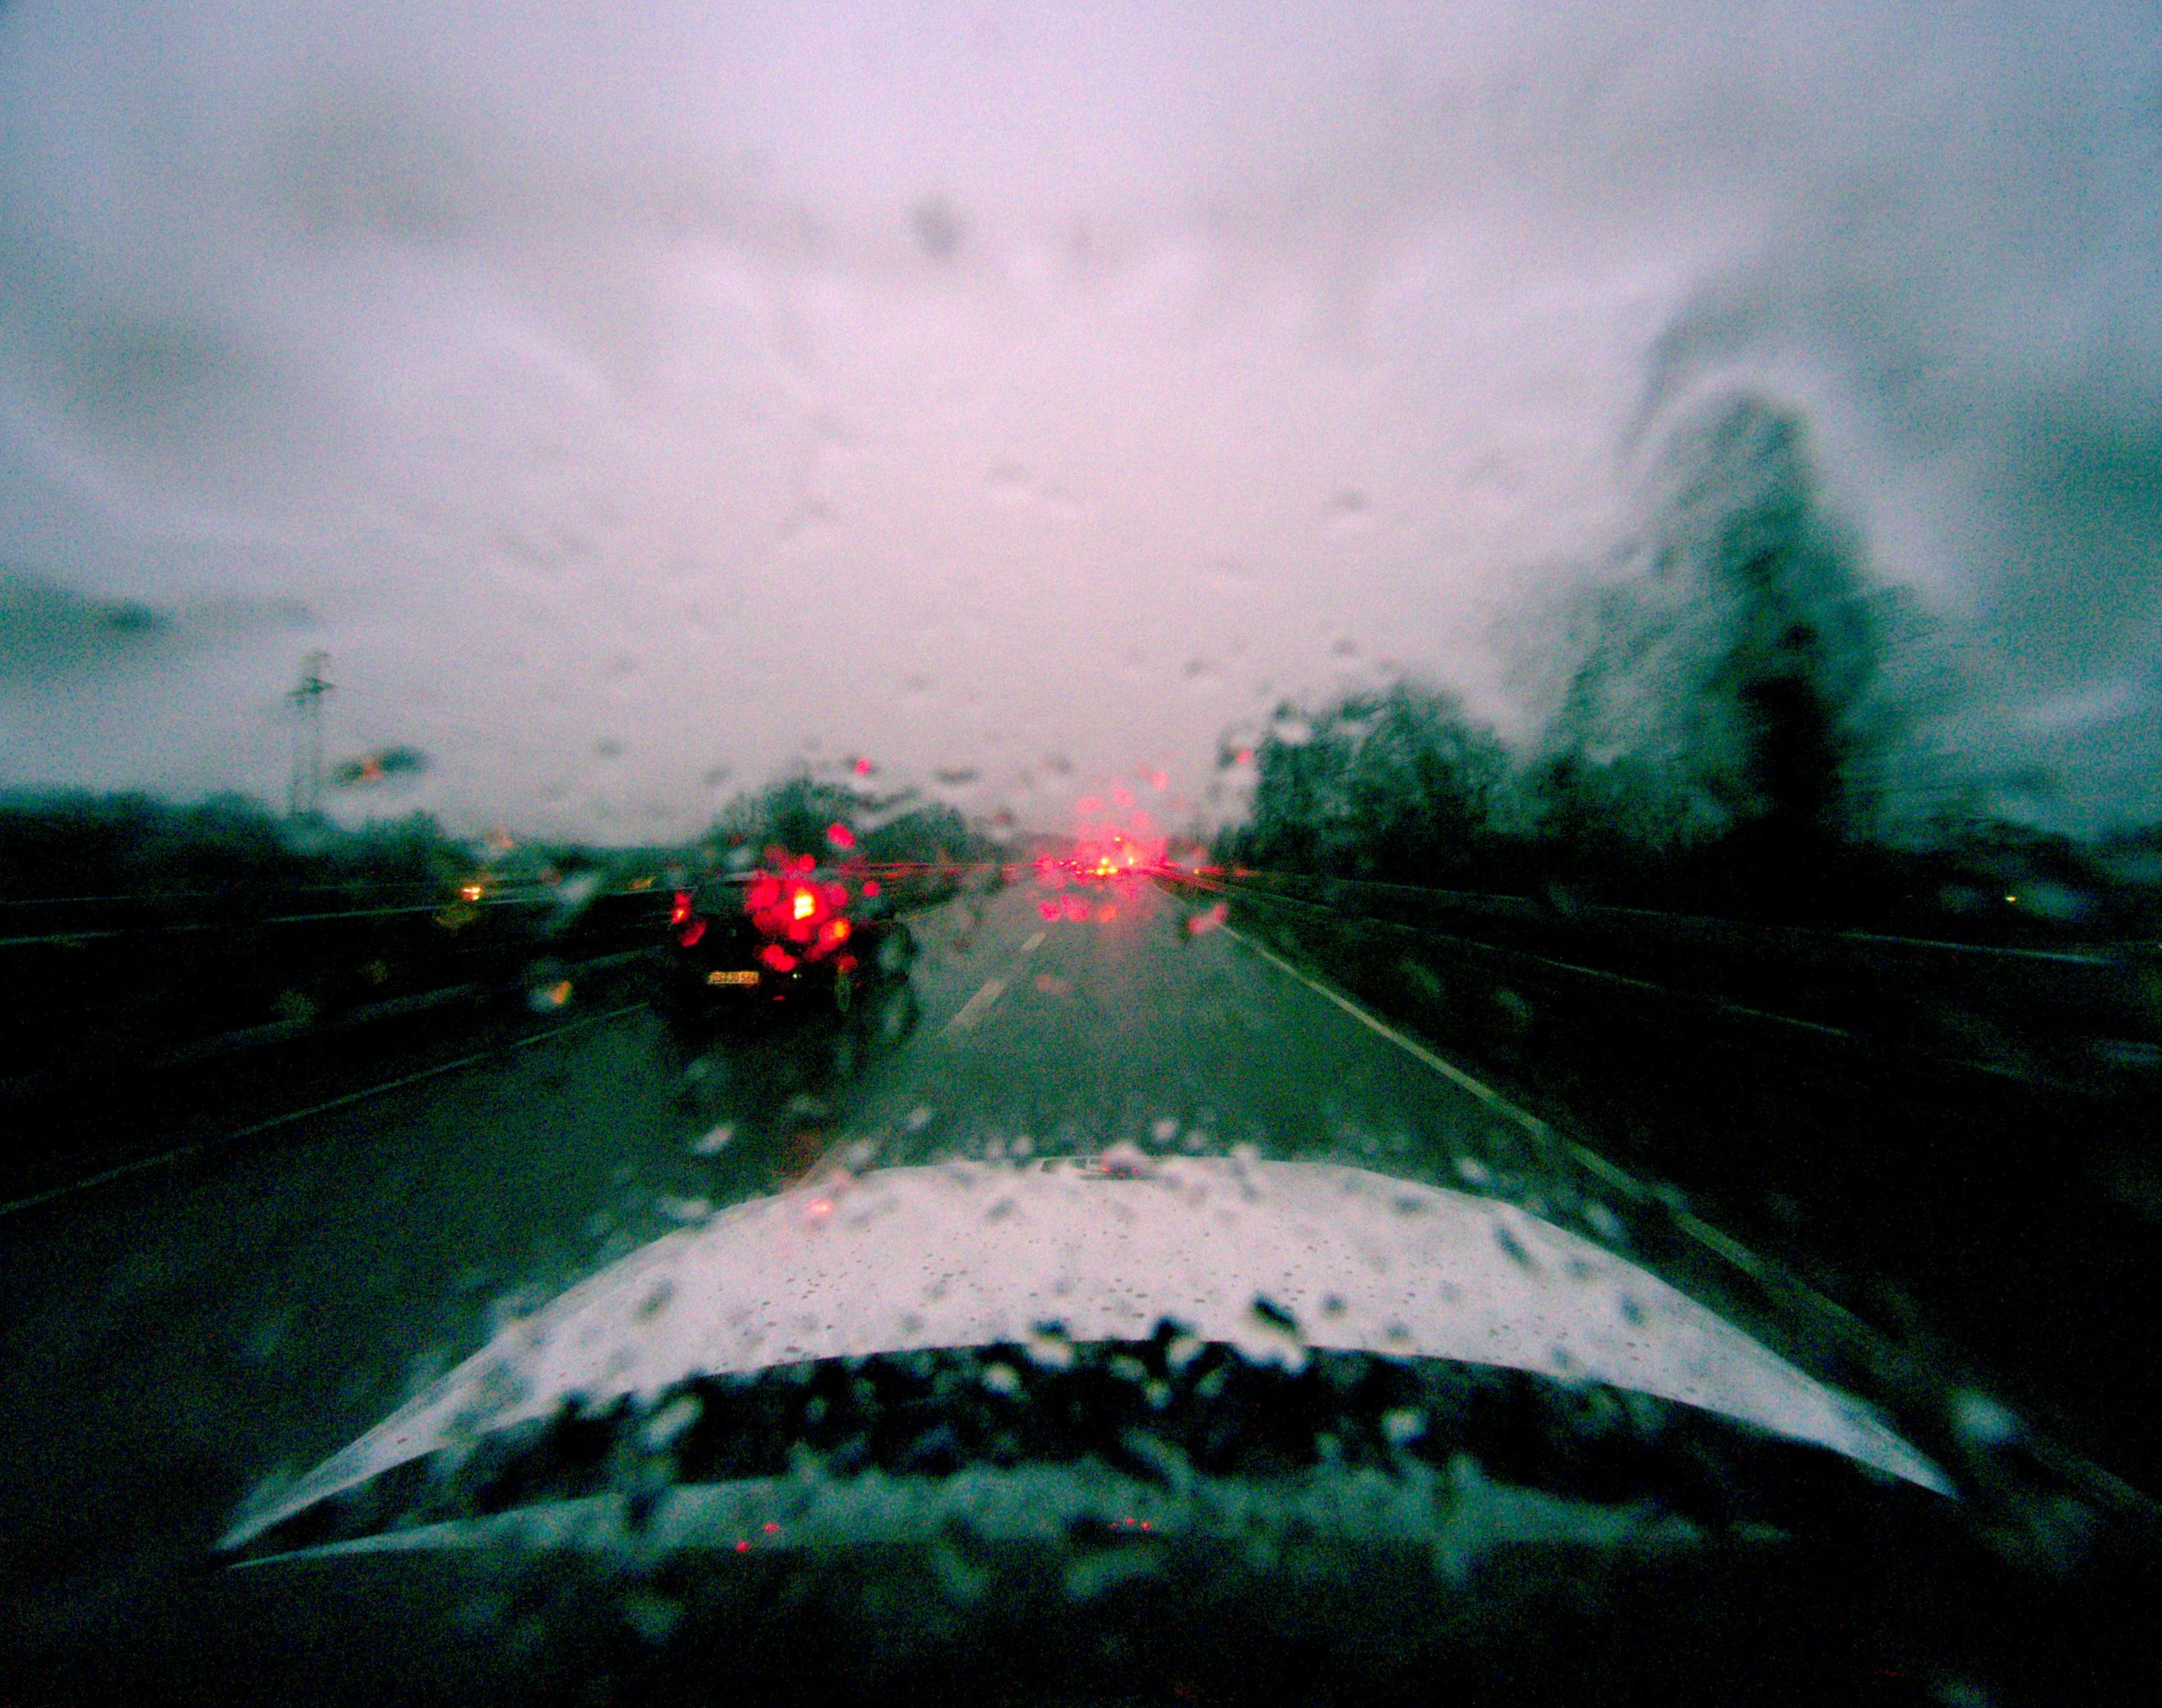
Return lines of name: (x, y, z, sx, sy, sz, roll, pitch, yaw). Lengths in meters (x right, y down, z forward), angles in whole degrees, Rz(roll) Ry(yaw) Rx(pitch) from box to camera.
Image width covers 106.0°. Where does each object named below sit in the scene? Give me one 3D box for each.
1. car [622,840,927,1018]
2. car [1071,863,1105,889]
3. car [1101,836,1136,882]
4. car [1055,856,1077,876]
car: (-3.080, 0.742, 9.190, 1.723, 1.533, 4.044, -1, -2, 3)
car: (0.467, 1.276, 47.935, 1.729, 1.415, 4.381, 1, -1, 3)
car: (2.615, 0.437, 57.275, 2.273, 2.966, 6.392, -1, -2, 2)
car: (-1.425, 1.171, 77.936, 1.987, 1.815, 3.999, 2, -1, 0)
